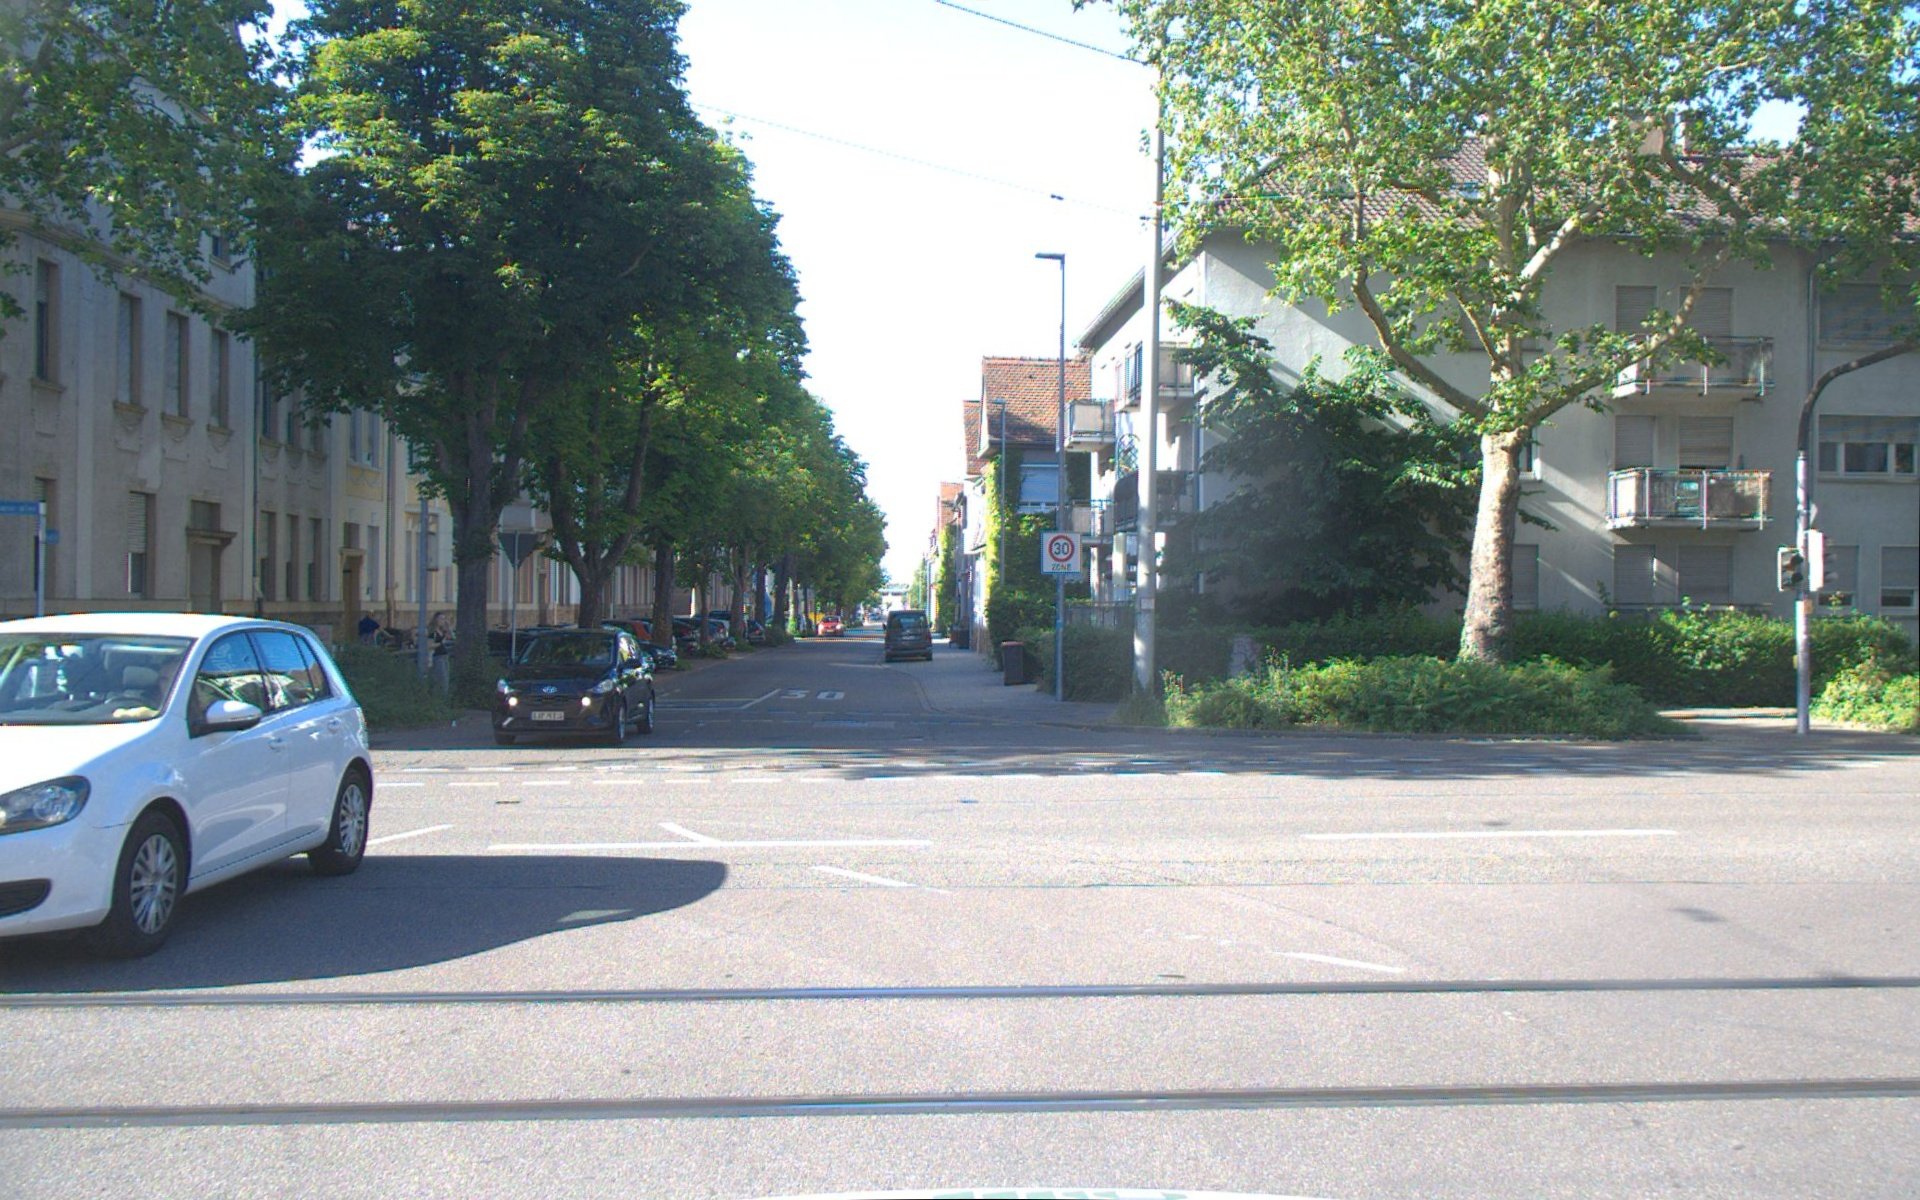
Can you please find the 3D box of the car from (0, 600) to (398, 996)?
[{"bbox_3d":[-4.263,0.794,8.174,1.770,1.484,3.997,0,-2,-3],"label":"car"}]

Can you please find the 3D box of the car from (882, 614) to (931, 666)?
[{"bbox_3d":[-2.148,1.542,66.001,1.827,1.949,4.780,1,-1,-2],"label":"car"}]

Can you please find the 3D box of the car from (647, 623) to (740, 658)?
[{"bbox_3d":[-12.075,1.809,75.167,3.821,1.471,1.860,1,-1,2],"label":"car"}]

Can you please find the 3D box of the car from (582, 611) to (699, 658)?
[{"bbox_3d":[-11.709,1.268,60.831,3.906,1.594,1.863,1,-1,-1],"label":"car"}]

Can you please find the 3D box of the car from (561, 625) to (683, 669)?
[{"bbox_3d":[-11.946,1.660,58.635,3.906,1.428,1.829,2,-1,-1],"label":"car"}]

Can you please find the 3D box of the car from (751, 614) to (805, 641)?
[{"bbox_3d":[-13.419,2.039,122.216,3.910,1.791,1.795,3,-1,-6],"label":"car"}]

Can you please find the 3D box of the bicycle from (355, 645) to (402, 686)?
[{"bbox_3d":[-14.053,1.572,40.007,0.462,0.928,1.597,0,-1,5],"label":"bicycle"}]

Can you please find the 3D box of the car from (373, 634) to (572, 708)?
[{"bbox_3d":[-10.398,1.497,35.481,3.804,1.502,1.614,-1,-1,-3],"label":"car"}]

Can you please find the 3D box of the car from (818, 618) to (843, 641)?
[{"bbox_3d":[-8.867,1.995,113.444,1.608,1.535,3.700,-1,-1,-3],"label":"car"}]

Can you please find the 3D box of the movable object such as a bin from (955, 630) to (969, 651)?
[{"bbox_3d":[0.098,2.137,86.891,0.634,1.058,0.827,-1,-1,-5],"label":"movable object such as a bin"}]

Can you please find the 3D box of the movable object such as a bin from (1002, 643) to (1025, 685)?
[{"bbox_3d":[1.386,1.670,43.277,0.474,1.062,0.656,-3,-1,-5],"label":"movable object such as a bin"}]

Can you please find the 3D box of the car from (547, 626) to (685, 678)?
[{"bbox_3d":[-10.641,1.612,51.390,3.906,1.508,1.785,1,-1,-1],"label":"car"}]

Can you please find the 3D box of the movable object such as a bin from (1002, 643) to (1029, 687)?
[{"bbox_3d":[1.424,1.663,42.550,0.585,1.062,0.706,-3,-1,-5],"label":"movable object such as a bin"}]

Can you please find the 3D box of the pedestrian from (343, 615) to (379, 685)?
[{"bbox_3d":[-14.512,1.202,40.091,0.450,1.687,0.895,0,-1,6],"label":"pedestrian"}]

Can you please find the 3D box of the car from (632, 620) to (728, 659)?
[{"bbox_3d":[-12.272,1.718,72.738,3.907,1.620,1.858,1,-1,-3],"label":"car"}]

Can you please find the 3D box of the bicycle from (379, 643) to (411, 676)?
[{"bbox_3d":[-15.420,1.621,45.144,0.561,0.830,0.966,3,-1,-4],"label":"bicycle"}]

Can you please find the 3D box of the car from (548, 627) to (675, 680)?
[{"bbox_3d":[-10.268,1.581,48.874,3.363,1.477,1.703,1,-2,0],"label":"car"}]

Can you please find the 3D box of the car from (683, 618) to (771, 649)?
[{"bbox_3d":[-12.258,1.766,87.244,4.442,1.529,1.890,1,-1,-4],"label":"car"}]

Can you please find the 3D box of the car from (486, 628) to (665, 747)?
[{"bbox_3d":[-5.163,1.151,22.662,1.627,1.490,3.807,0,-2,-1],"label":"car"}]

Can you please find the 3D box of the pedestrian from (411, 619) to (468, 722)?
[{"bbox_3d":[-8.808,1.177,27.999,0.679,1.711,0.680,0,-1,8],"label":"pedestrian"}]

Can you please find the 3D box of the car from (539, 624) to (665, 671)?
[{"bbox_3d":[-12.120,1.610,56.169,3.906,1.534,1.722,-1,-1,-1],"label":"car"}]

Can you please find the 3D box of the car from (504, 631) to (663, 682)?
[{"bbox_3d":[-10.621,1.597,46.875,4.127,1.372,1.702,1,-2,-3],"label":"car"}]
